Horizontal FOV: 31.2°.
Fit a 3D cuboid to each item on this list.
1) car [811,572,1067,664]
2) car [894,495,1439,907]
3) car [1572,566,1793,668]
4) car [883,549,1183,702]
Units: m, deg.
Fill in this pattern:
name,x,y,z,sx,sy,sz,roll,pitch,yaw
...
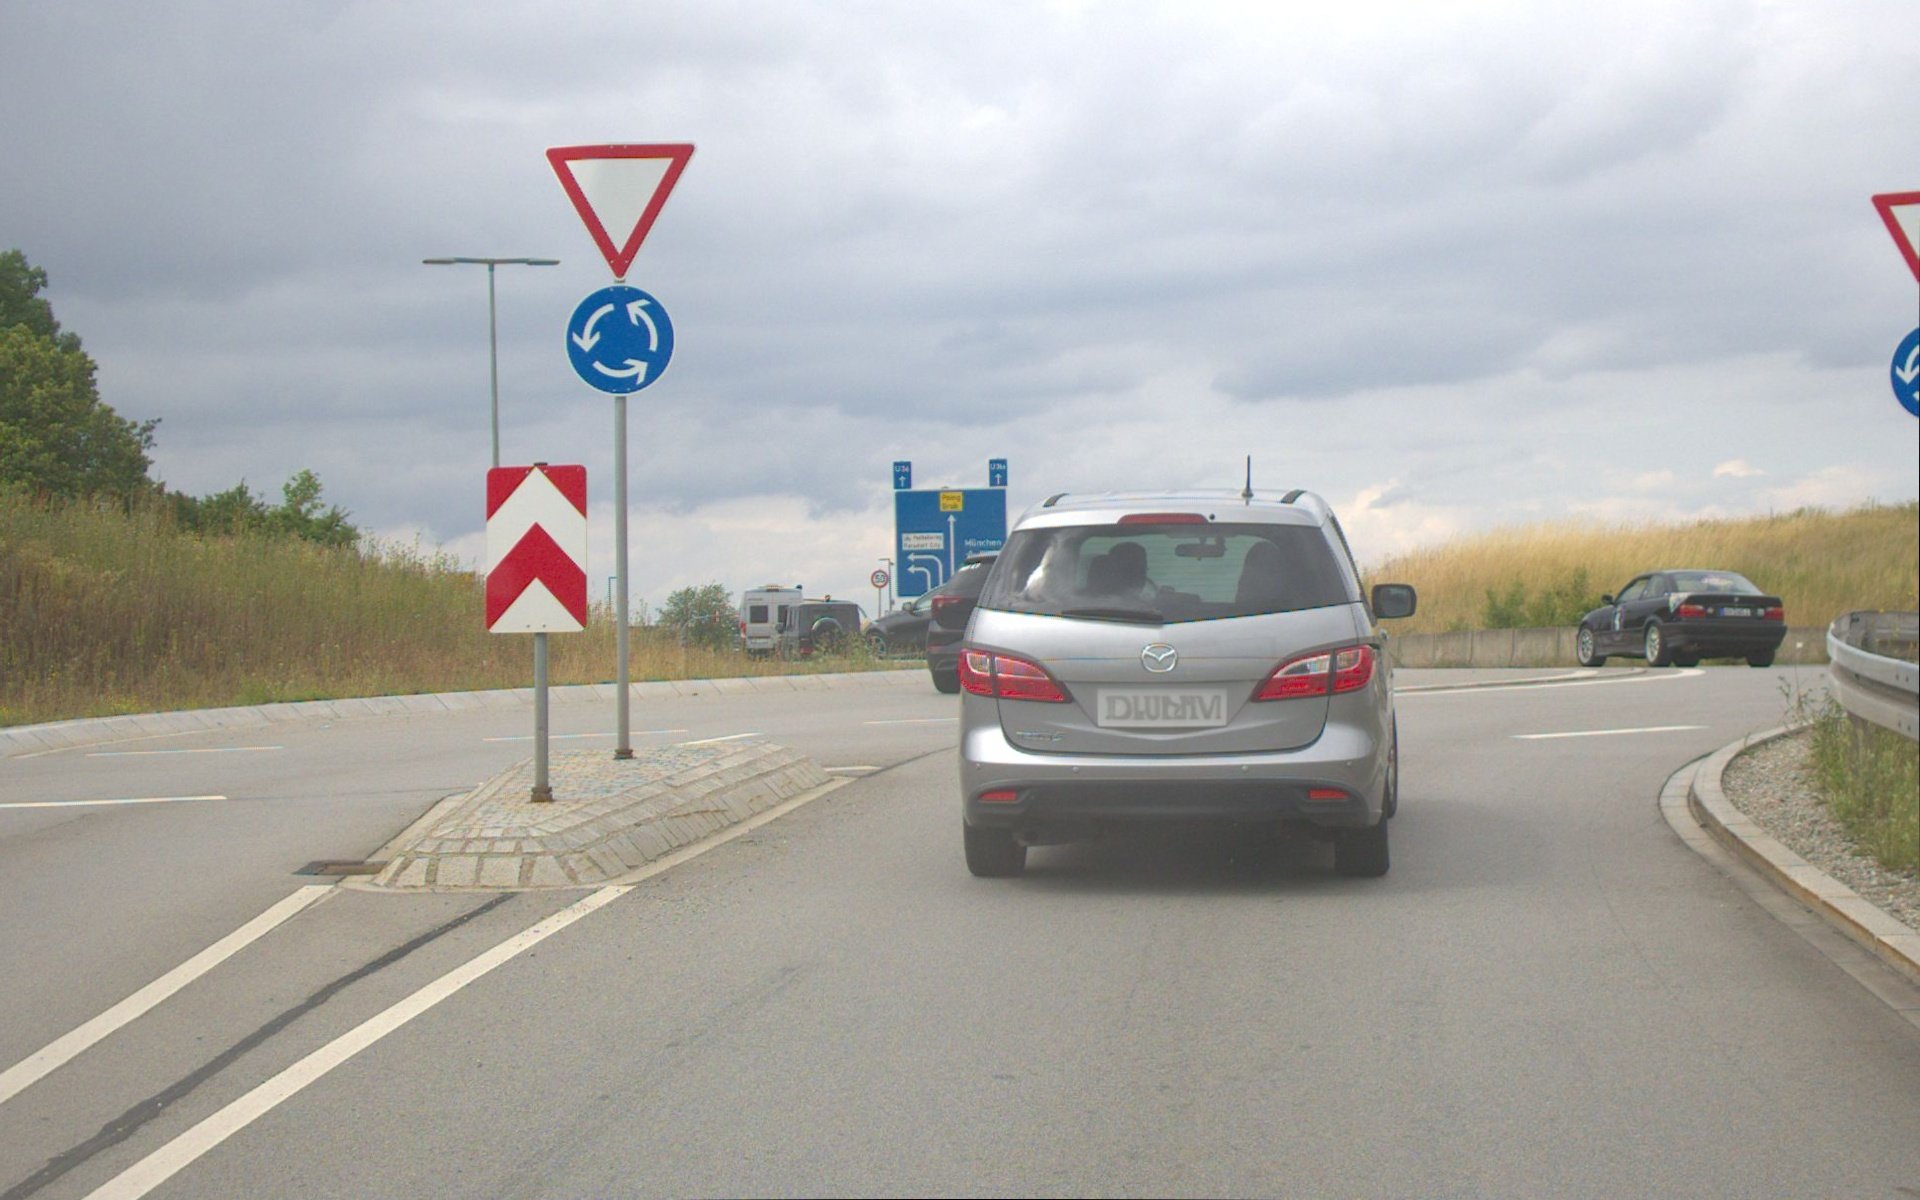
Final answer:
name,x,y,z,sx,sy,sz,roll,pitch,yaw
car,-0.358,0.296,53.572,1.661,1.335,3.997,-2,0,-44
car,1.056,0.338,15.195,1.912,1.568,3.998,0,1,11
car,9.862,0.213,47.223,1.598,1.284,4.047,-2,1,-9
car,0.804,0.226,34.817,1.663,1.373,3.996,-2,1,22
